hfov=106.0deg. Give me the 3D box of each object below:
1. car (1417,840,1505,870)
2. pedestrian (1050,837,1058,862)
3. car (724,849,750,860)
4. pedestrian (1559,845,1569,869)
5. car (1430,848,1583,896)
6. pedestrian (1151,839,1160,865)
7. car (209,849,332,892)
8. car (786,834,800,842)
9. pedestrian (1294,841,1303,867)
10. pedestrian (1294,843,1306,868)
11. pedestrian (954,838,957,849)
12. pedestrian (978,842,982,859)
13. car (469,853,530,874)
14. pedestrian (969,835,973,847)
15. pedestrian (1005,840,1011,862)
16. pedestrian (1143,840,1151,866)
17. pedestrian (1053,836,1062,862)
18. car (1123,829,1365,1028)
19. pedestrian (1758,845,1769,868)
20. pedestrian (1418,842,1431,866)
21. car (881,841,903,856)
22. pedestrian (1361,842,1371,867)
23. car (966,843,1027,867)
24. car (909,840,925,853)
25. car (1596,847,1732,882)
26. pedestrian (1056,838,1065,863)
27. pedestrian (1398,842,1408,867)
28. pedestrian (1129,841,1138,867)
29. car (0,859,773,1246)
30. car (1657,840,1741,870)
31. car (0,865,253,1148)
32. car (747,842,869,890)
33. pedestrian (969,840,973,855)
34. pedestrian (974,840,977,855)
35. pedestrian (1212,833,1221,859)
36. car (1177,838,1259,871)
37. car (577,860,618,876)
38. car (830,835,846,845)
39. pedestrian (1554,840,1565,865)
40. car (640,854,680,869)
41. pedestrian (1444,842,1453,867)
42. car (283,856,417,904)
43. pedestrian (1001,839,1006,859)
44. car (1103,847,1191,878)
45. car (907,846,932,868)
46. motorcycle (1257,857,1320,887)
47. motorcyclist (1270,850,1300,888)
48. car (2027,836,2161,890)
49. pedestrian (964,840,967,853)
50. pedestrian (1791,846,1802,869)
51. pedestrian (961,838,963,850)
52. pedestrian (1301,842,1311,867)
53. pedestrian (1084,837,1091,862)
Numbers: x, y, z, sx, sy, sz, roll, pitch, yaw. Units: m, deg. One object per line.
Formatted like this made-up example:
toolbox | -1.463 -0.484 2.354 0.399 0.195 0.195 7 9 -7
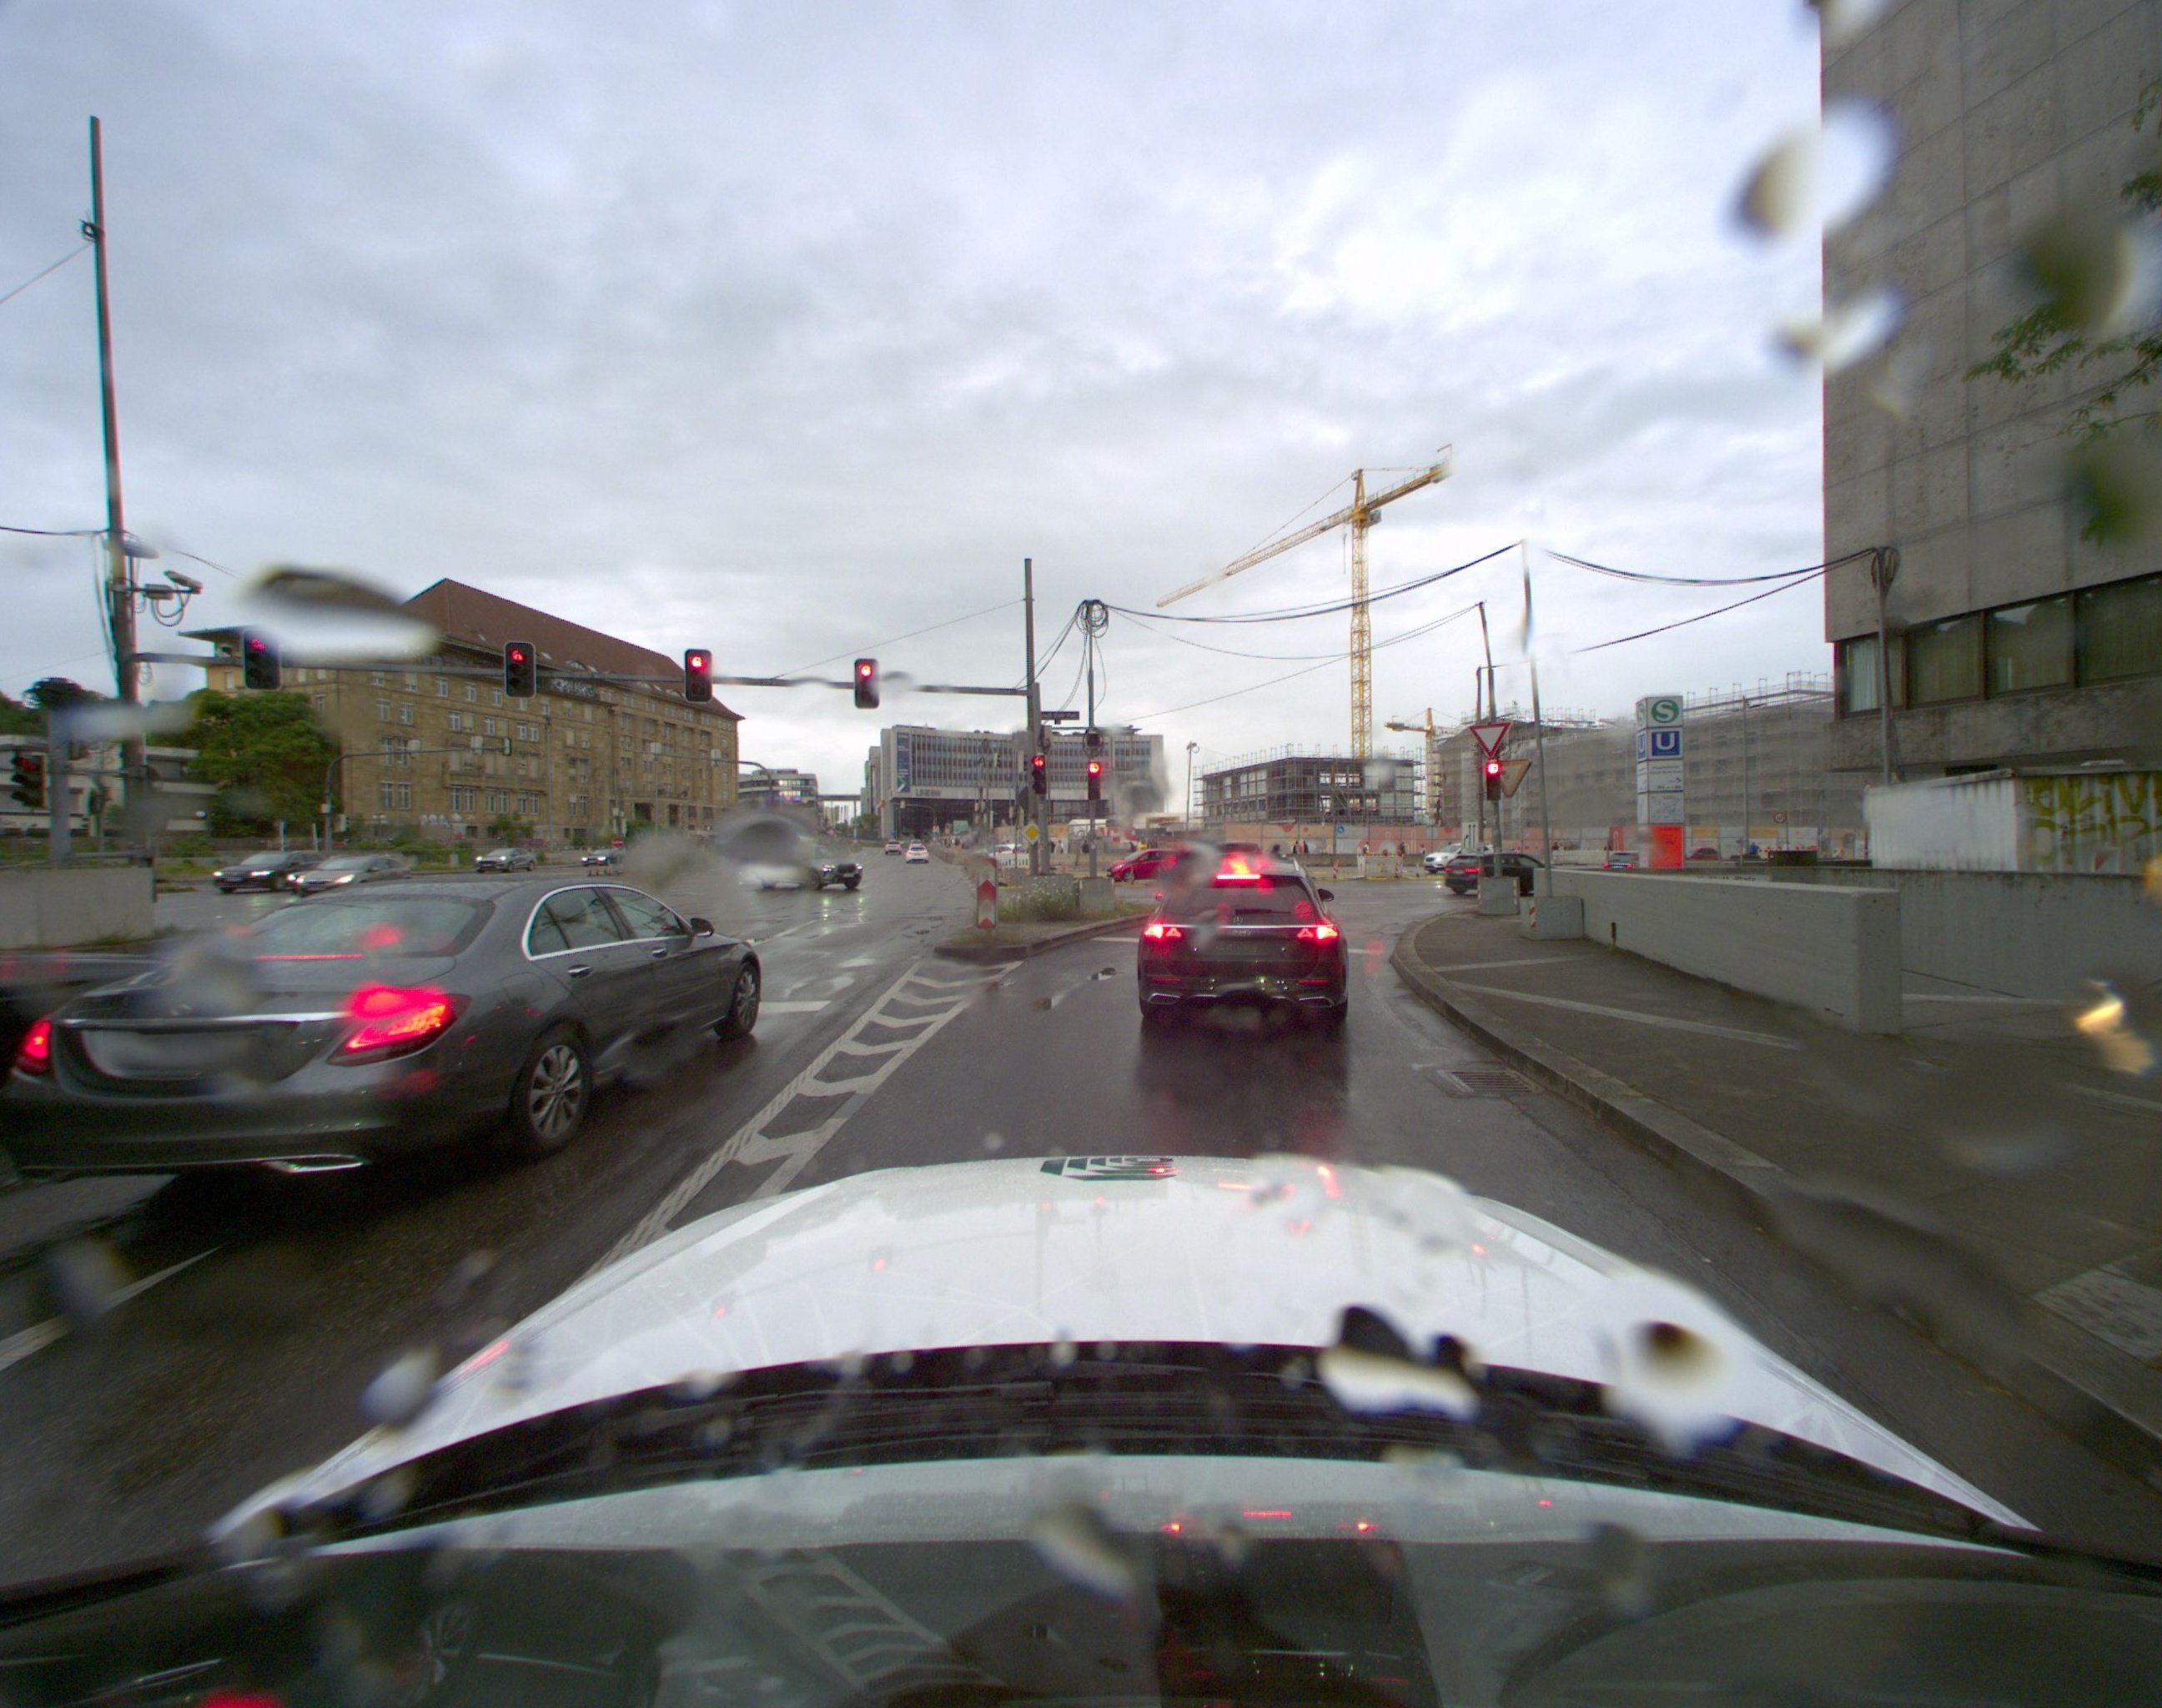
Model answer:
car | 20.391 0.072 43.736 4.049 1.552 1.989 0 -1 -17
pedestrian | -2.094 -0.332 63.036 0.364 1.898 0.570 1 -2 -36
car | -39.081 0.073 92.578 1.767 1.260 3.986 0 -1 -10
pedestrian | 38.976 0.231 65.749 0.574 1.898 0.361 0 -1 -9
car | 14.005 0.574 26.916 4.096 1.507 1.995 0 -1 -8
pedestrian | 5.367 -0.139 58.733 0.574 1.898 0.361 0 -1 -5
car | -33.090 0.679 33.423 1.625 1.646 3.984 0 -1 -12
car | -72.602 -4.046 205.273 2.010 1.816 3.952 1 -1 -41
pedestrian | 15.755 -0.005 59.003 0.574 1.898 0.361 0 -1 -9
pedestrian | 16.636 0.118 61.930 0.656 1.901 0.629 0 -1 -11
pedestrian | -21.047 -1.775 136.798 0.520 1.898 0.573 0 -1 -15
pedestrian | -11.251 -0.378 90.708 0.362 1.898 0.573 0 -1 -15
car | -36.548 0.621 51.337 1.625 1.260 3.984 0 -1 -12
pedestrian | -17.075 -1.990 126.190 0.520 1.898 0.573 0 -1 -15
pedestrian | -6.424 -0.263 71.751 0.363 1.898 0.572 1 -1 -23
pedestrian | 4.902 -0.091 60.193 0.572 1.898 0.363 0 -1 4
pedestrian | -1.729 -0.378 60.352 0.364 1.898 0.569 1 -2 -42
car | 1.552 0.614 8.440 1.880 1.544 4.002 0 -1 8
pedestrian | 56.896 0.224 67.900 0.574 1.898 0.361 0 -1 -9
pedestrian | 27.150 0.014 64.390 0.656 1.901 0.629 0 -1 -11
car | -22.986 -0.669 99.046 2.001 1.640 3.971 0 -1 -22
pedestrian | 21.237 0.027 60.703 0.574 1.898 0.361 0 -1 -9
car | -5.492 0.085 53.180 3.516 1.473 1.796 0 -1 22
car | -22.817 -1.087 113.425 1.733 1.639 3.413 0 2 -19
car | 23.180 0.412 32.475 4.092 1.345 1.996 0 -1 -5
pedestrian | -1.581 -0.289 63.364 0.364 1.898 0.569 0 -1 -41
pedestrian | 24.086 0.026 60.834 0.574 1.898 0.361 0 -1 -9
pedestrian | 3.869 0.030 60.293 0.570 1.898 0.364 0 -1 16
car | -3.669 0.784 5.446 1.780 1.402 4.480 0 1 -4
car | 37.055 0.075 48.847 3.994 1.708 1.990 0 -1 -15
car | -6.672 0.798 3.189 1.883 1.515 4.996 0 -1 -3
car | -11.043 0.478 32.800 5.036 1.798 2.013 -1 -1 35
pedestrian | -14.069 -0.837 104.301 0.362 1.898 0.573 0 -1 -15
pedestrian | -13.539 -0.836 104.447 0.362 1.898 0.573 0 -1 -15
pedestrian | 10.082 -0.592 60.562 0.573 1.898 0.362 0 -1 -2
car | 7.462 0.031 44.553 3.992 1.734 1.991 0 -1 -14
car | -38.314 1.106 64.621 1.738 1.260 3.316 0 -1 -12
car | -52.577 -2.907 176.021 2.009 2.014 3.955 1 -1 -38
pedestrian | 36.208 -0.097 61.591 0.574 1.898 0.361 0 -1 -9
car | -35.412 0.645 68.628 1.767 1.260 4.179 0 -1 -10
pedestrian | 28.242 0.052 62.591 0.575 1.898 0.361 0 -1 -11
car | -25.514 0.887 28.607 1.699 1.574 3.983 0 -1 -12
pedestrian | -7.613 -0.483 80.148 0.362 1.898 0.573 0 -1 -19
car | 2.885 0.372 35.879 3.541 1.304 1.657 0 -1 -16
car | -13.239 0.295 66.923 1.994 1.766 4.402 0 -1 -11
motorcycle | 7.580 0.660 29.839 2.125 1.108 0.852 0 -1 5
motorcyclist | 7.504 0.543 29.962 0.940 1.358 0.851 0 -1 6
car | 33.373 0.289 26.394 3.993 1.640 1.990 0 -1 -15
pedestrian | -17.459 -1.123 123.003 0.362 1.898 0.573 0 -1 -15
pedestrian | 58.945 0.280 67.100 0.574 1.898 0.361 0 -1 -9
pedestrian | -19.514 -1.690 133.704 0.362 1.898 0.573 0 -1 -15
pedestrian | 16.946 0.042 61.341 0.574 1.898 0.361 0 -1 -9
pedestrian | 0.502 -0.350 62.083 0.362 1.898 0.573 0 -1 -19
